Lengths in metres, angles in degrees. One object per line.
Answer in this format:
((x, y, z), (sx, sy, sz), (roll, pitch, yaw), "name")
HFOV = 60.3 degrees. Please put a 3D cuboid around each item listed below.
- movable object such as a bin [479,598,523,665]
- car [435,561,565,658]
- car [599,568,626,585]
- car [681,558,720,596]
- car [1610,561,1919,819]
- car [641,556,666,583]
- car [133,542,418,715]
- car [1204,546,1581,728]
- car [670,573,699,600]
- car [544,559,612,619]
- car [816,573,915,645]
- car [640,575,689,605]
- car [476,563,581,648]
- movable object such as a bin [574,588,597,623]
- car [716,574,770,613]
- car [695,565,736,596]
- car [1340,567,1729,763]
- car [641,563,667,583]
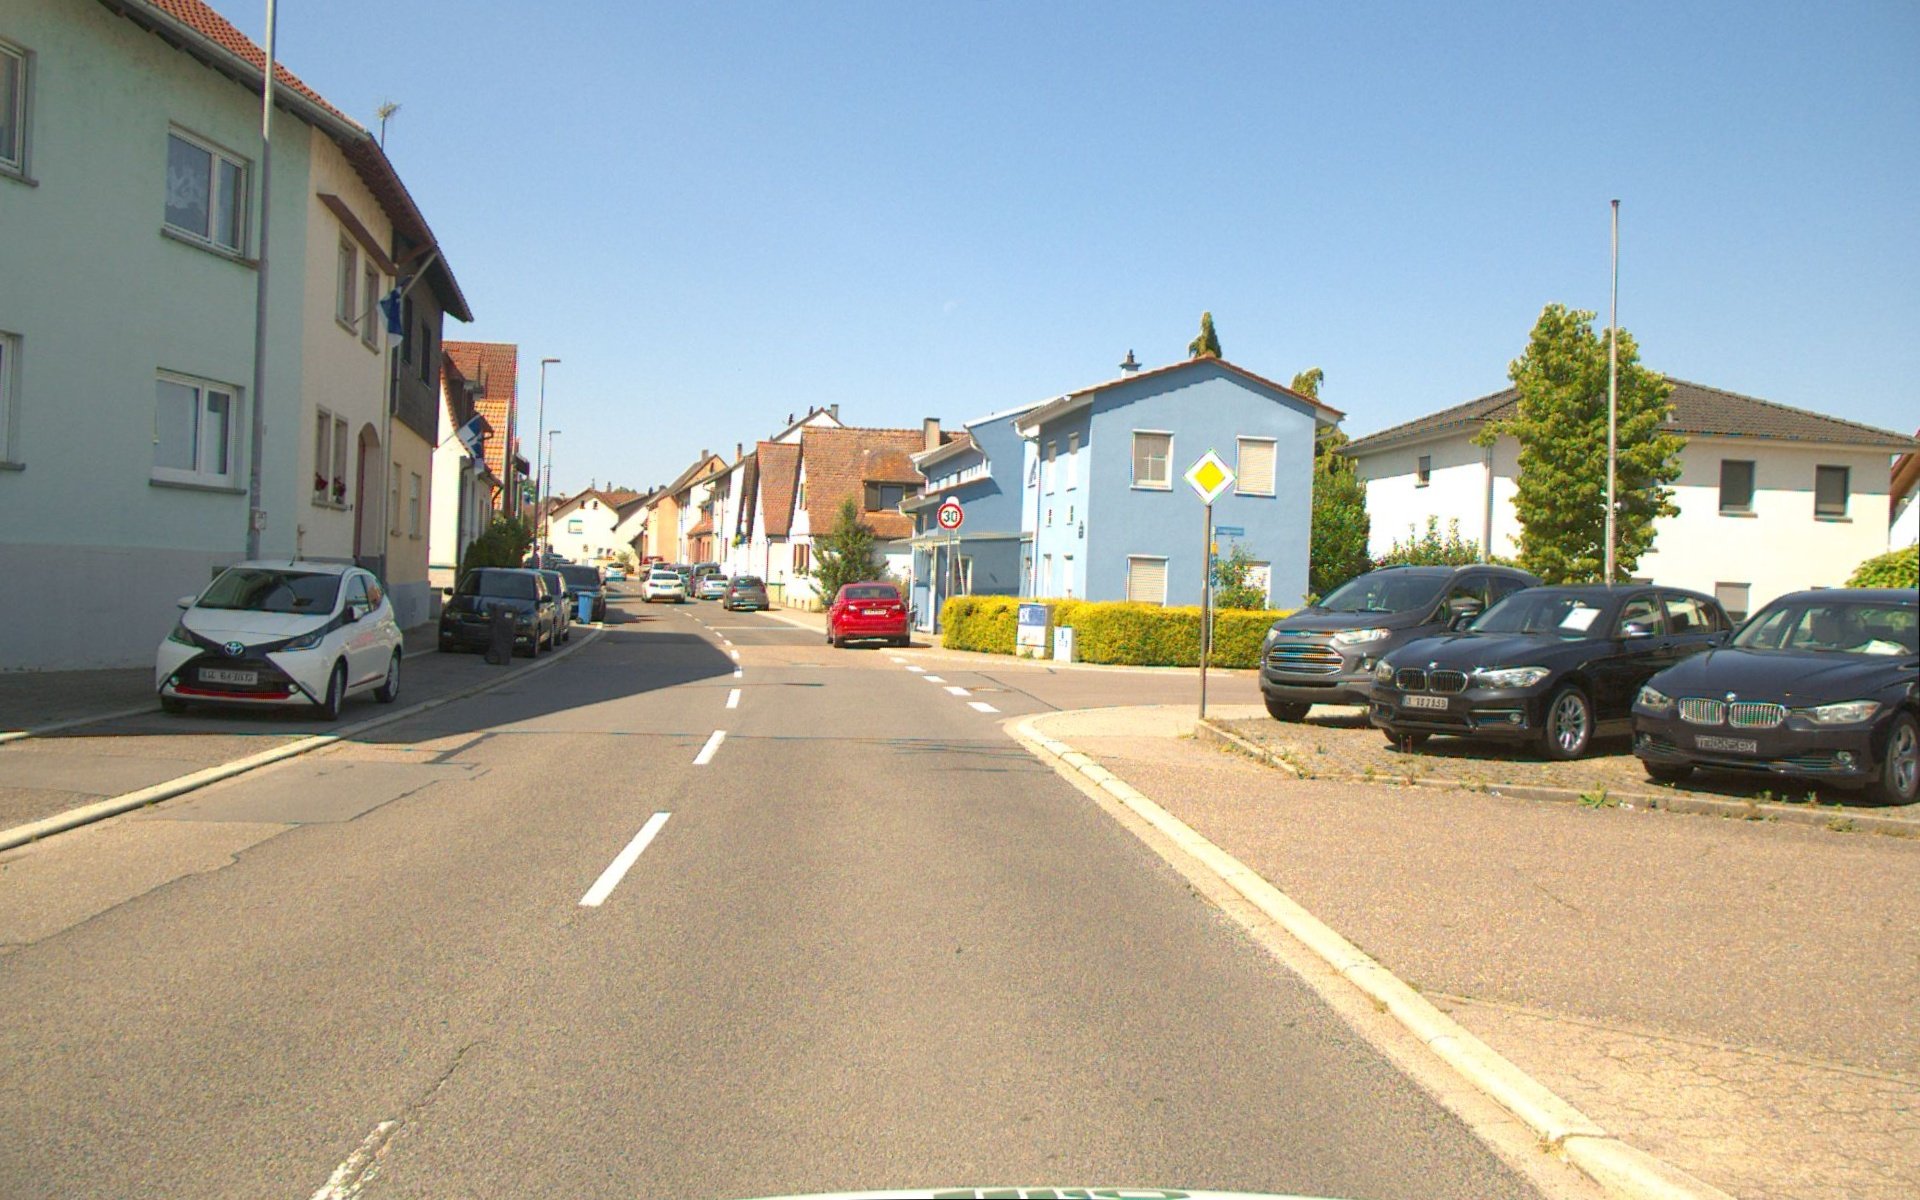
((-7.126, 0.481, 25.722), (0.542, 0.944, 0.822), (6, 0, -14), "movable object such as a bin")
((-8.126, 0.139, 29.512), (1.648, 1.462, 3.988), (5, 0, -9), "car")
((-27.742, -1.876, 131.921), (1.960, 1.310, 3.789), (2, 0, -15), "car")
((-14.187, -1.241, 90.318), (1.622, 1.943, 3.611), (3, 0, -15), "car")
((6.804, 0.573, 12.535), (4.207, 1.593, 1.952), (1, 1, -45), "car")
((-24.302, -2.393, 130.992), (1.737, 2.039, 3.438), (2, 0, -14), "car")
((-6.770, 0.251, 16.757), (1.652, 1.487, 3.644), (3, 0, -7), "car")
((4.602, 0.350, 17.322), (4.076, 1.682, 1.805), (1, 1, -41), "car")
((-16.838, -0.853, 100.977), (1.397, 1.541, 3.291), (3, 0, -15), "car")
((-12.254, -0.364, 53.283), (1.886, 1.696, 4.652), (4, 0, -12), "car")
((-2.246, 0.164, 38.276), (1.702, 1.520, 4.343), (1, 1, -11), "car")
((-14.018, -0.487, 78.388), (1.960, 1.310, 3.985), (2, 0, -15), "car")
((-8.977, 0.091, 34.635), (1.610, 1.527, 3.774), (5, 0, -9), "car")
((-10.992, 0.155, 48.535), (0.586, 0.999, 0.529), (3, 0, -13), "movable object such as a bin")
((-9.107, -0.294, 69.283), (1.676, 1.458, 3.874), (3, 0, -15), "car")
((-12.663, -1.024, 85.554), (1.676, 1.522, 3.439), (3, 0, -15), "car")
((5.167, 0.510, 14.634), (3.844, 1.472, 1.723), (1, 1, -45), "car")
((-23.403, -2.036, 126.245), (1.737, 1.458, 3.438), (2, 0, -14), "car")
